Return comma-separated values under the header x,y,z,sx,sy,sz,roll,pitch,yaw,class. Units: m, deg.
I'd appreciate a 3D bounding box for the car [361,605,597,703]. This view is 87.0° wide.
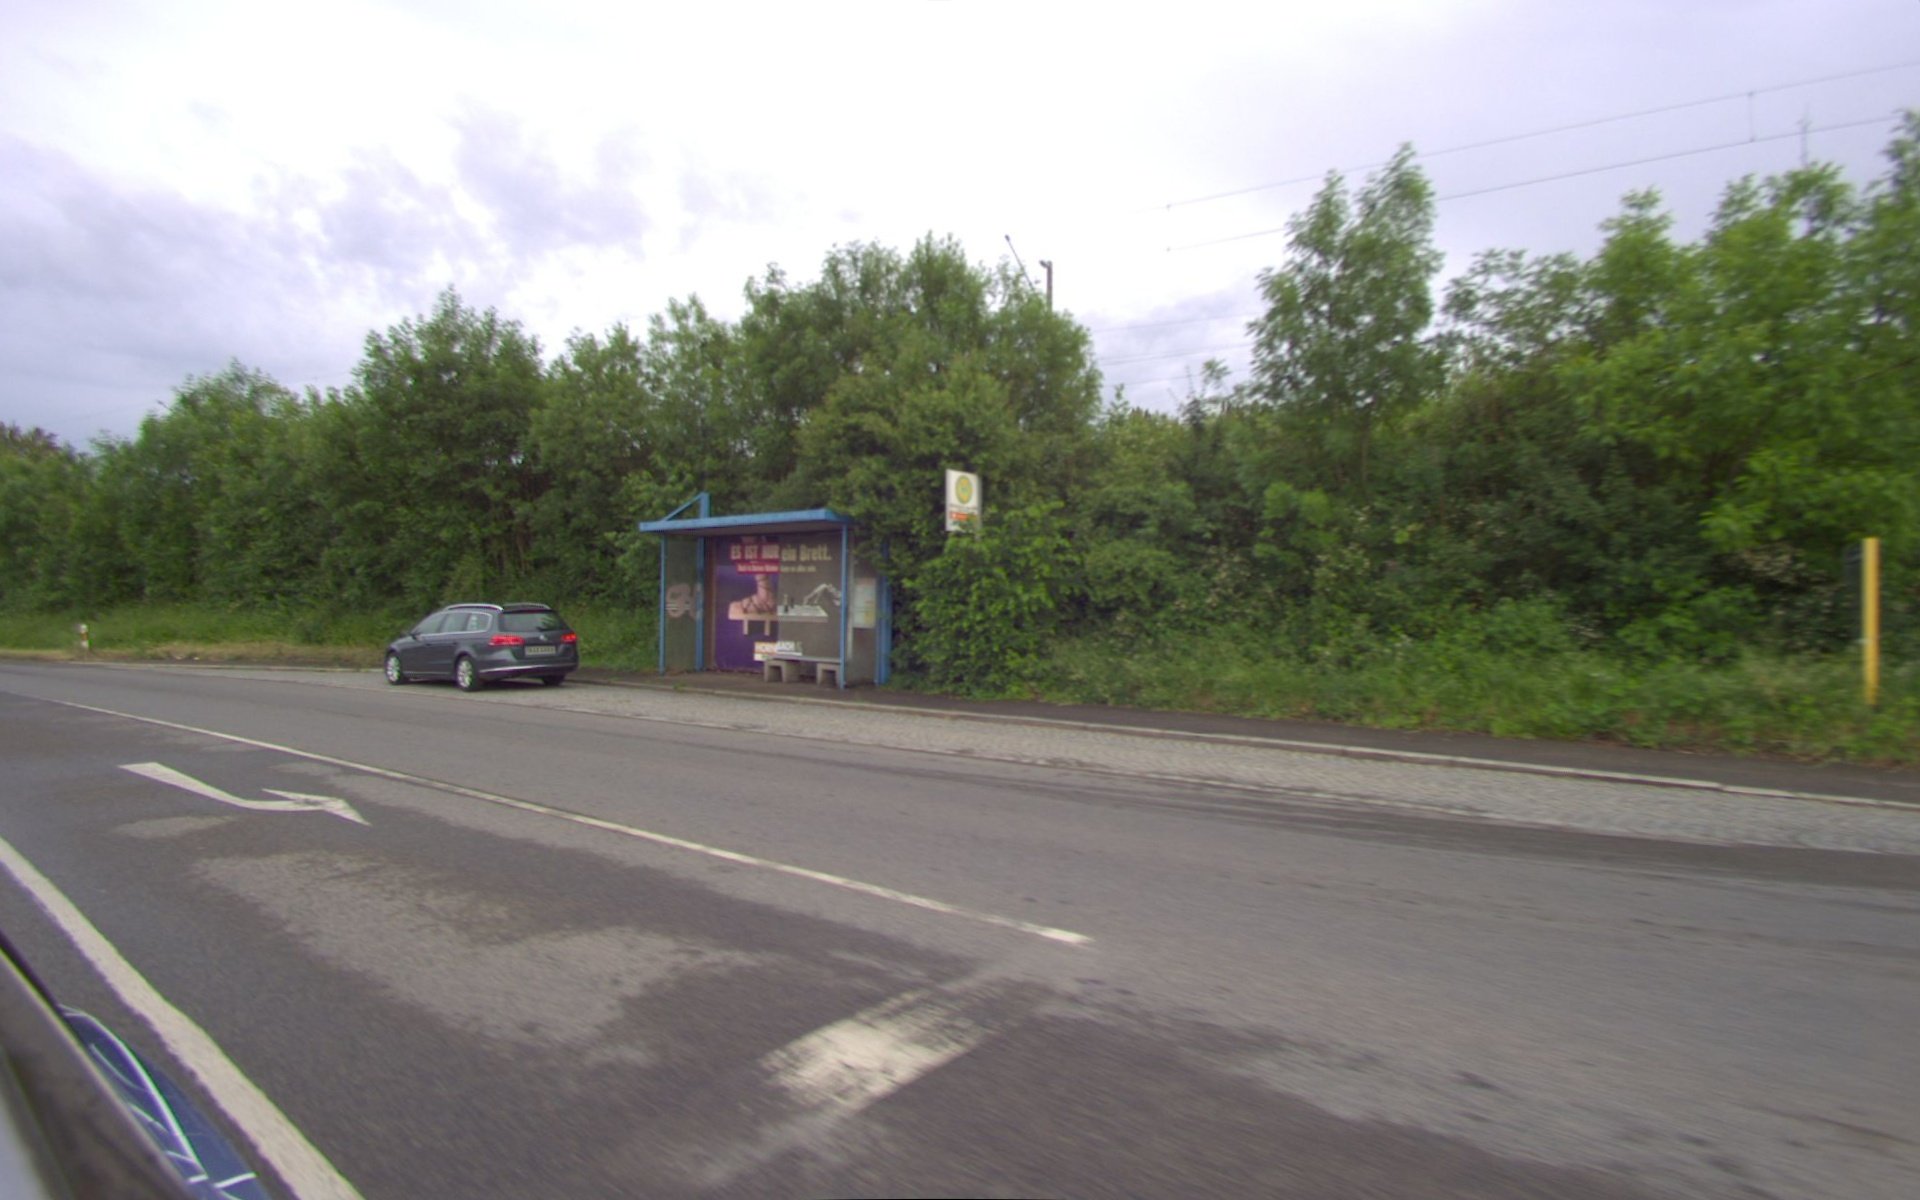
x,y,z,sx,sy,sz,roll,pitch,yaw,class
-8.891,0.884,18.554,4.693,1.485,1.975,0,2,38,car
